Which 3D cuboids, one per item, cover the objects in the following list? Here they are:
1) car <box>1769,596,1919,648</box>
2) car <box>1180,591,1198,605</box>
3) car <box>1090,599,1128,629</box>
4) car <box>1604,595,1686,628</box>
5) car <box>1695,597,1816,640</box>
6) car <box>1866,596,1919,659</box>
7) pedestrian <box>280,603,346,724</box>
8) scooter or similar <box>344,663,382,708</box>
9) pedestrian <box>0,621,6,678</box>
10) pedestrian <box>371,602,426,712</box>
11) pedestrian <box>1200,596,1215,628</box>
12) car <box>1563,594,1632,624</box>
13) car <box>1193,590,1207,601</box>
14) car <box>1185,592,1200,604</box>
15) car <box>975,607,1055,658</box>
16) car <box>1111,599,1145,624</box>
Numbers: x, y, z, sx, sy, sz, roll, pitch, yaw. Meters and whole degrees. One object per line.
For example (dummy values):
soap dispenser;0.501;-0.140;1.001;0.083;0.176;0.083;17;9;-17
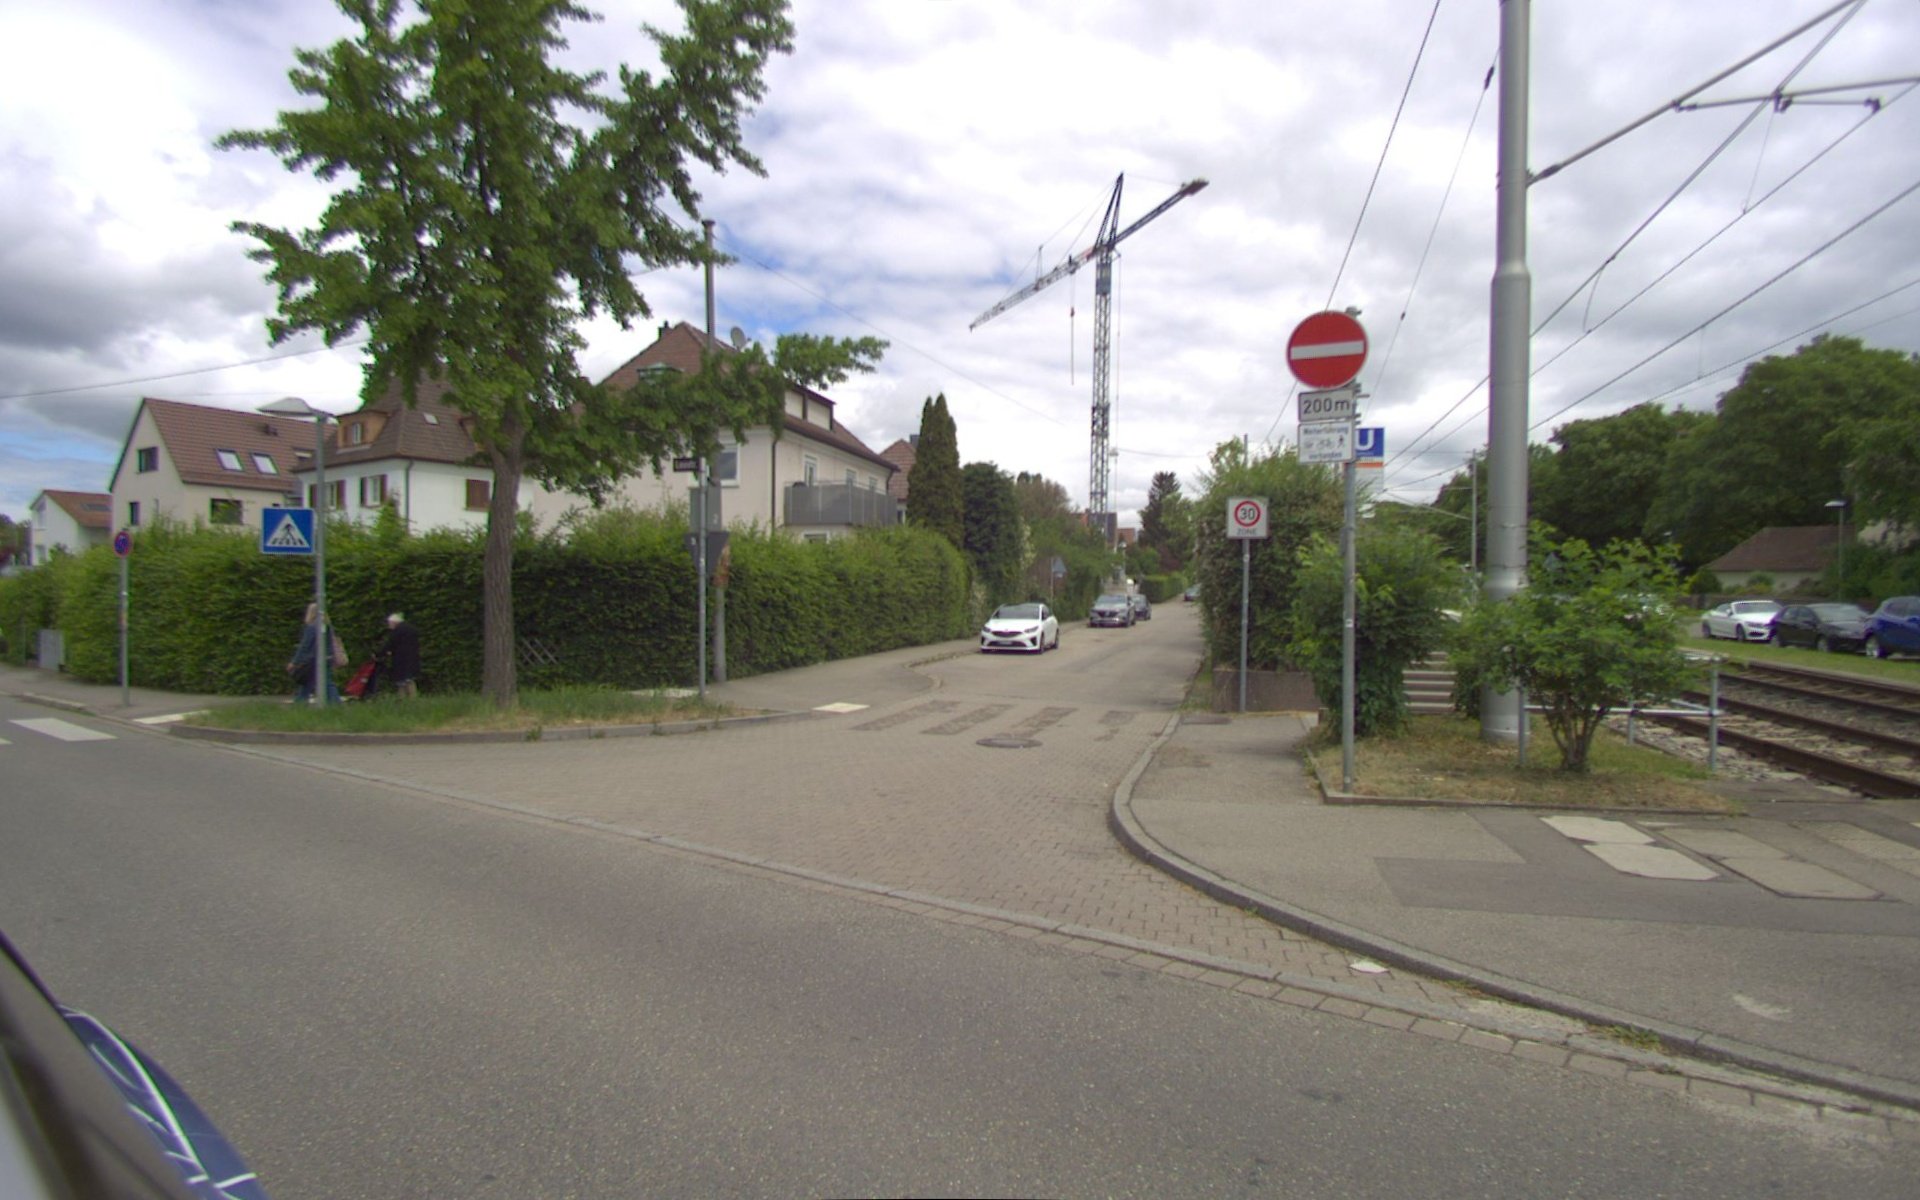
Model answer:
car;25.041;0.581;28.709;1.838;1.386;3.979;0;0;16
car;25.525;-0.231;112.795;1.754;1.453;3.766;0;0;15
car;7.523;0.675;50.947;1.751;1.453;3.772;0;0;10
car;30.259;0.495;44.821;1.838;1.386;3.979;0;0;16
car;26.994;0.604;34.503;1.838;1.386;3.979;0;0;16
car;23.667;0.638;23.888;1.838;1.492;3.979;0;0;16
pedestrian;-9.122;0.871;14.293;0.588;1.632;0.680;-2;1;-20
scooter or similar;-9.147;1.306;15.525;0.393;0.614;0.490;-2;2;-20
pedestrian;-26.113;1.337;27.046;0.541;1.542;0.743;-1;1;26
pedestrian;-8.666;0.862;15.643;0.588;1.632;0.680;-2;1;-20
pedestrian;12.370;0.603;50.577;0.639;1.542;0.661;1;1;17
car;31.267;0.429;49.750;1.838;1.386;3.979;0;0;16
car;33.312;-0.606;140.624;1.754;1.453;3.766;0;0;15
car;28.593;-0.258;124.405;1.754;1.453;3.766;0;0;15
car;1.678;0.898;29.663;1.764;1.322;3.758;1;0;12
car;10.267;0.697;61.774;1.754;1.453;3.767;0;0;14
